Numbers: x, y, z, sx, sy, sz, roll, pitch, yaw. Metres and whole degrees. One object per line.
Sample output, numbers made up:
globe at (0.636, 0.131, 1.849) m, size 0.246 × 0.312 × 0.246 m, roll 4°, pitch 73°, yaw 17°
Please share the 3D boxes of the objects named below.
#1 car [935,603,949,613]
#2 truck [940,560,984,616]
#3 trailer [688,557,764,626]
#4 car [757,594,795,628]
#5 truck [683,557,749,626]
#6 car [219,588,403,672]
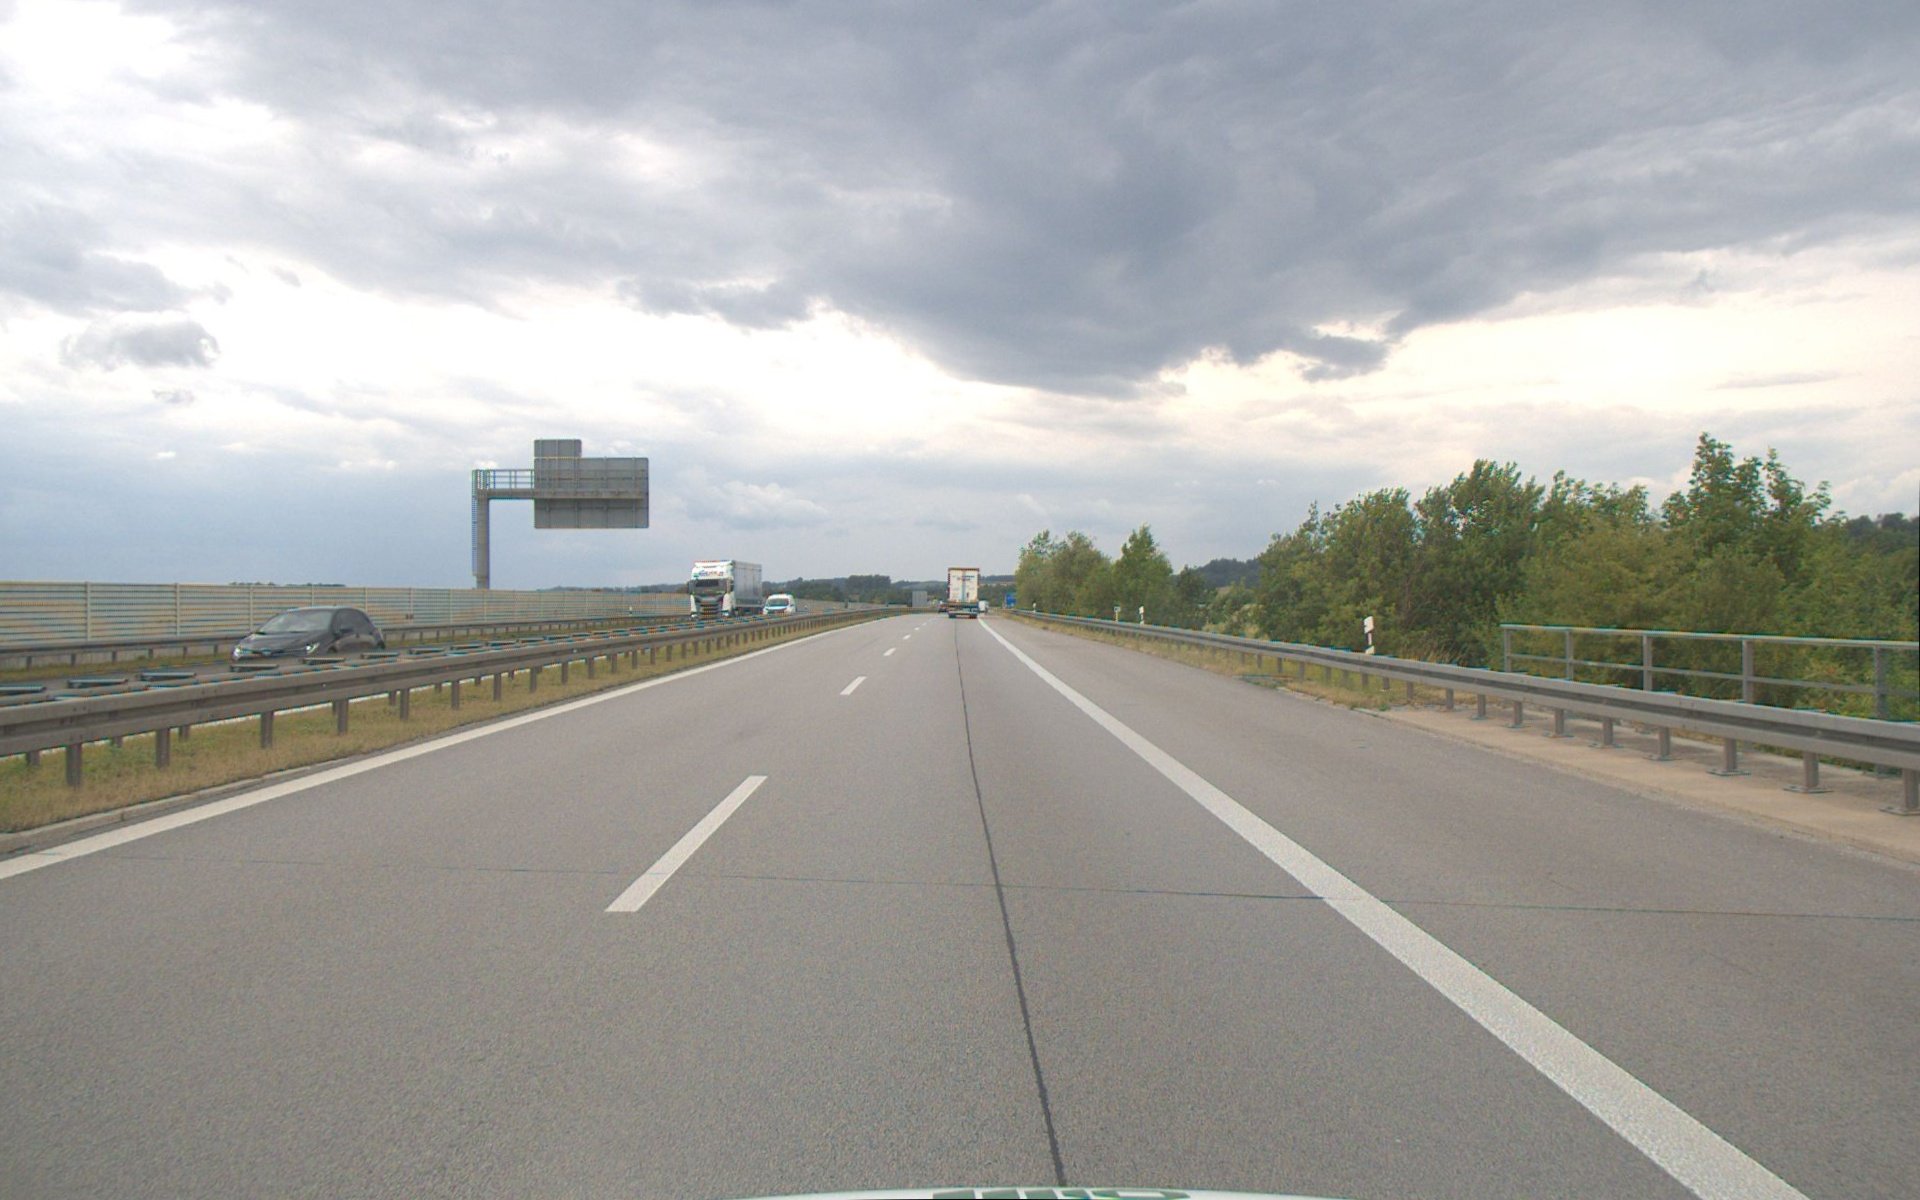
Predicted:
car at (-2.773, 1.190, 255.311) m, size 1.954 × 1.445 × 3.998 m, roll 1°, pitch 1°, yaw -3°
truck at (0.155, -0.919, 142.458) m, size 3.597 × 4.490 × 16.338 m, roll 0°, pitch 0°, yaw 0°
trailer at (-15.347, -0.524, 109.652) m, size 3.114 × 4.147 × 14.021 m, roll -2°, pitch 0°, yaw -1°
car at (-11.166, 0.669, 100.650) m, size 1.778 × 1.879 × 4.180 m, roll 5°, pitch 0°, yaw -1°
truck at (-15.264, -0.514, 104.058) m, size 3.046 × 4.084 × 7.323 m, roll -2°, pitch 0°, yaw -1°
car at (-12.762, 0.544, 32.856) m, size 1.760 × 1.397 × 4.682 m, roll -5°, pitch 0°, yaw -1°
